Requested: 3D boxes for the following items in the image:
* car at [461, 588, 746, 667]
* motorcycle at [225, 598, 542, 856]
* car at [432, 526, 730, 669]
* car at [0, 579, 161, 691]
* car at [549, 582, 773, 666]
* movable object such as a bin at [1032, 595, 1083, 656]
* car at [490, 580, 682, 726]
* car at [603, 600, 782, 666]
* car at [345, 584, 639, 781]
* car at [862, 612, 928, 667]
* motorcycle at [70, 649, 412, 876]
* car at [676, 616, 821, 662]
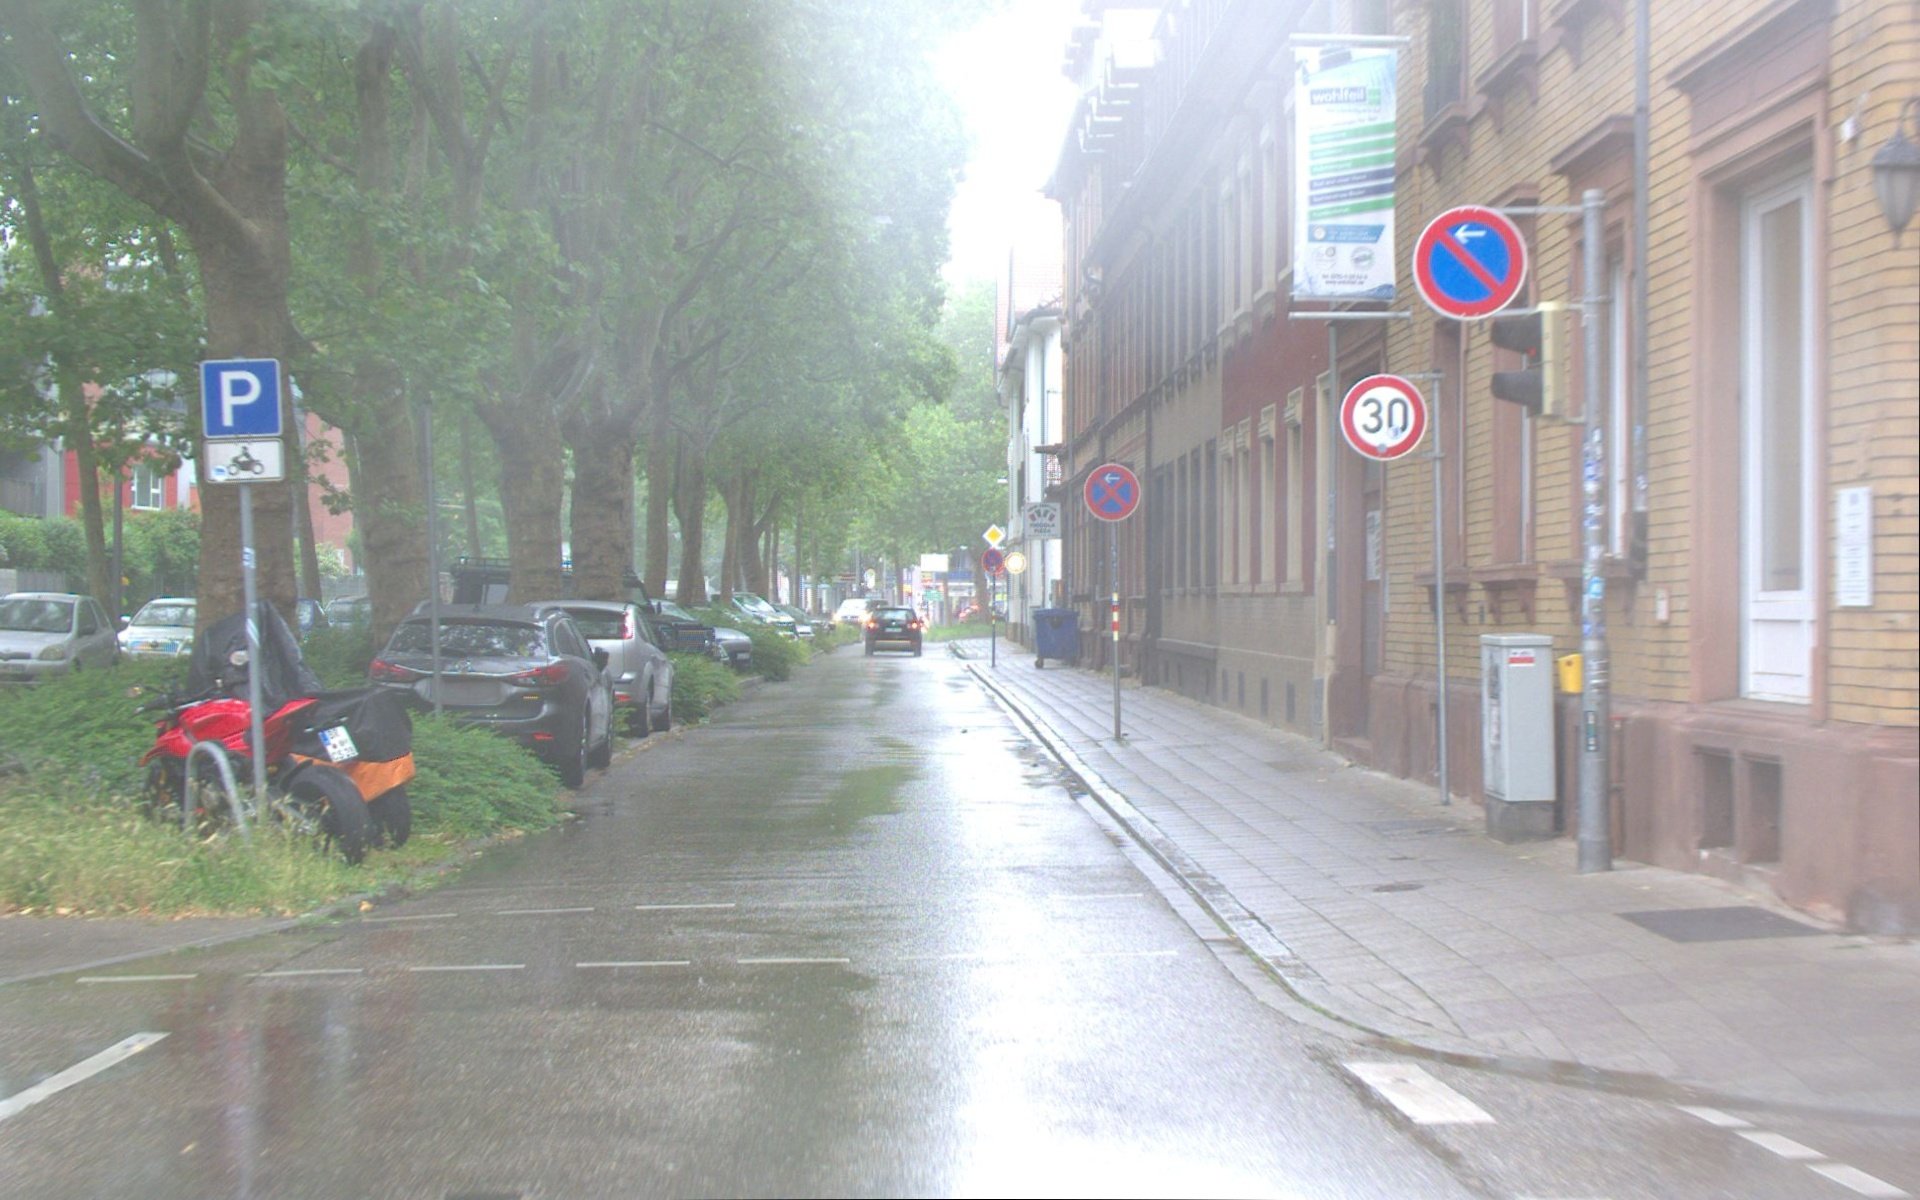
[{"bbox_3d":[-6.171,0.459,59.444,4.652,1.321,1.844,0,0,27],"label":"car"},{"bbox_3d":[-3.605,0.762,21.379,2.108,1.495,0.769,1,-1,42],"label":"motorcycle"},{"bbox_3d":[-6.262,-0.042,56.630,4.653,2.275,2.008,0,0,33],"label":"car"},{"bbox_3d":[-13.003,0.480,50.018,1.904,1.529,4.216,1,0,-2],"label":"car"},{"bbox_3d":[-5.904,0.459,67.849,4.059,1.532,1.832,2,0,30],"label":"car"},{"bbox_3d":[2.173,0.559,77.047,1.021,1.297,1.367,-3,0,-1],"label":"movable object such as a bin"},{"bbox_3d":[-4.192,0.567,39.097,1.729,1.509,4.207,2,0,-1],"label":"car"},{"bbox_3d":[-8.134,1.000,104.328,5.123,1.971,2.099,-1,-1,30],"label":"car"},{"bbox_3d":[-3.896,0.644,29.358,1.896,1.480,4.621,2,0,-1],"label":"car"},{"bbox_3d":[-2.036,1.224,107.657,1.993,1.634,4.000,2,-1,-1],"label":"car"},{"bbox_3d":[-4.229,0.926,20.132,2.141,1.205,0.867,1,-1,44],"label":"motorcycle"},{"bbox_3d":[-6.973,1.276,113.211,4.553,1.477,1.772,-1,-1,30],"label":"car"}]
